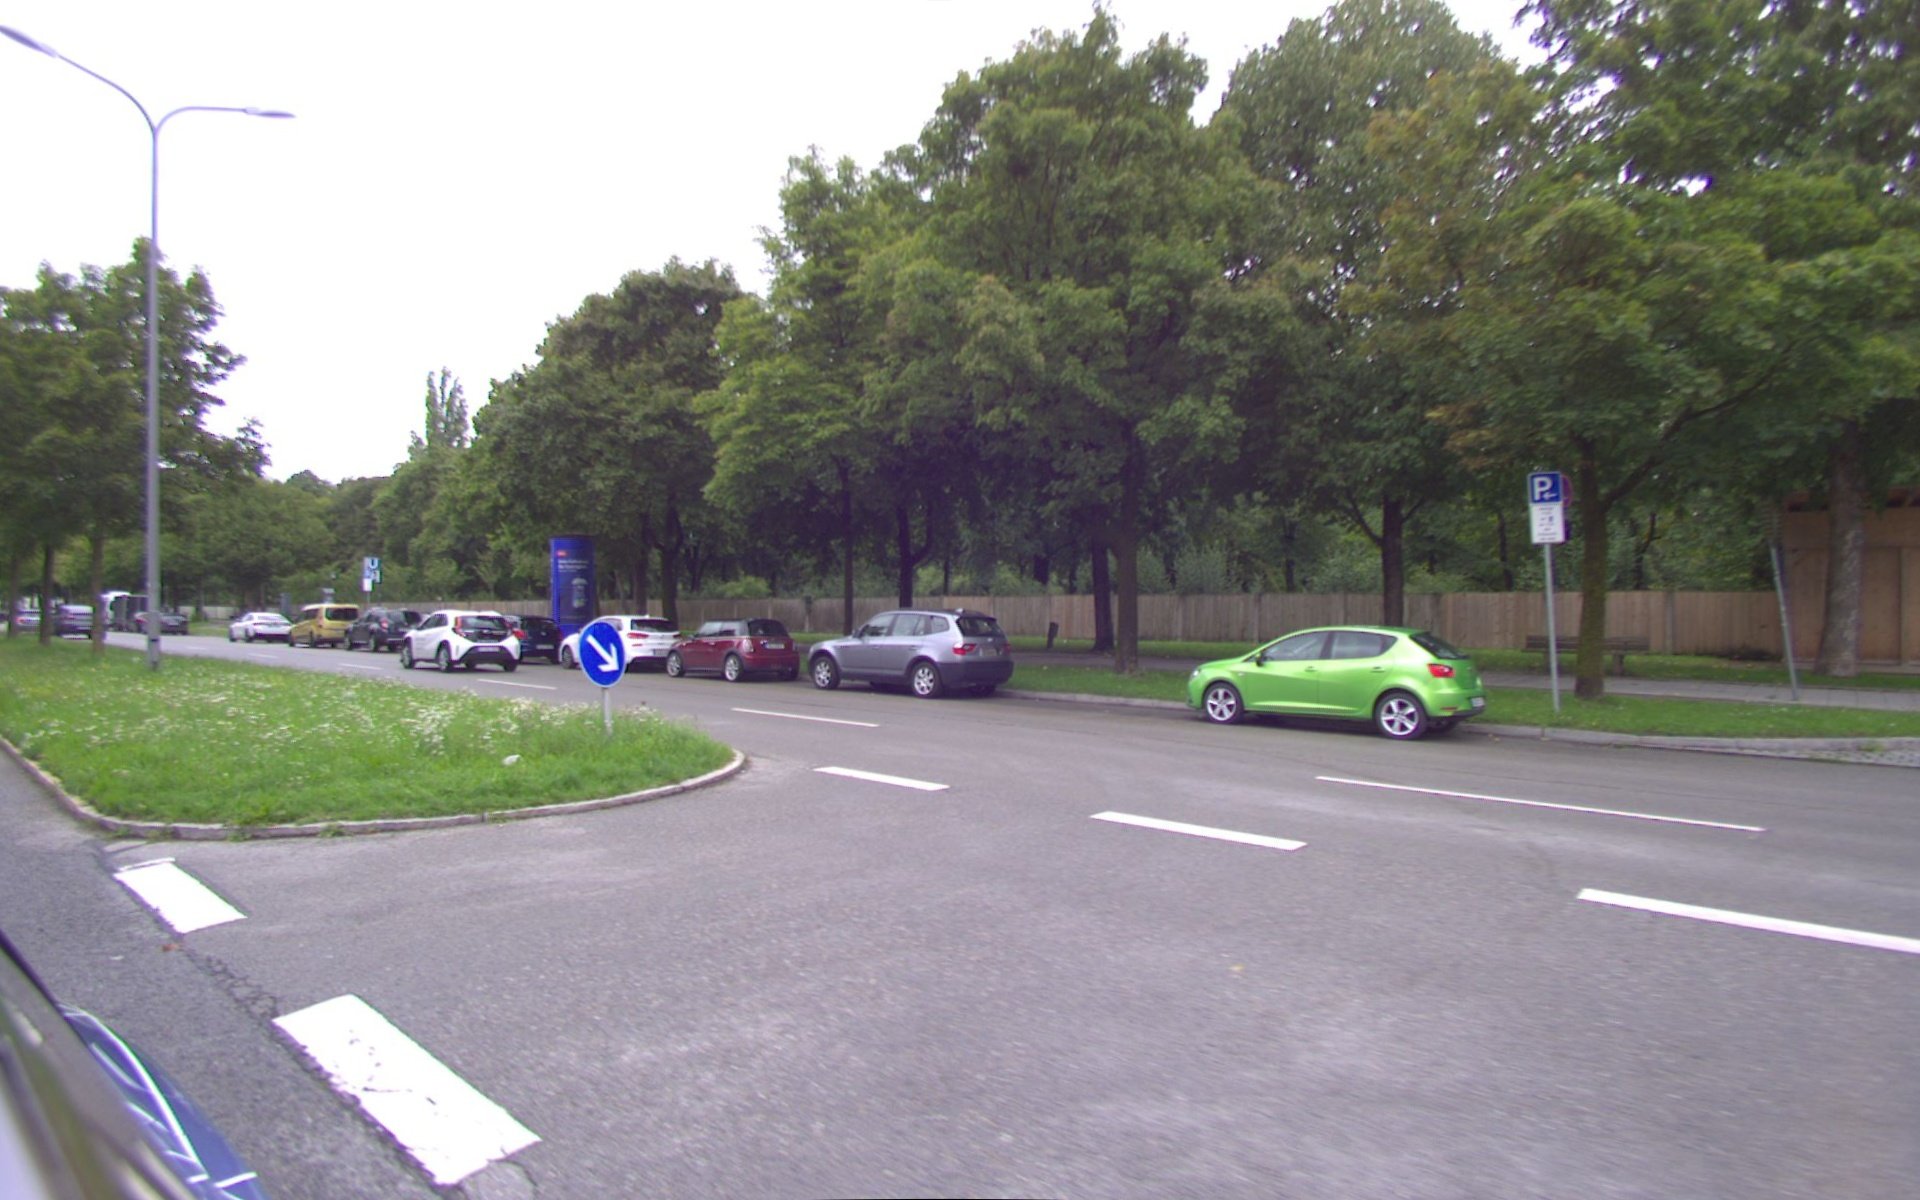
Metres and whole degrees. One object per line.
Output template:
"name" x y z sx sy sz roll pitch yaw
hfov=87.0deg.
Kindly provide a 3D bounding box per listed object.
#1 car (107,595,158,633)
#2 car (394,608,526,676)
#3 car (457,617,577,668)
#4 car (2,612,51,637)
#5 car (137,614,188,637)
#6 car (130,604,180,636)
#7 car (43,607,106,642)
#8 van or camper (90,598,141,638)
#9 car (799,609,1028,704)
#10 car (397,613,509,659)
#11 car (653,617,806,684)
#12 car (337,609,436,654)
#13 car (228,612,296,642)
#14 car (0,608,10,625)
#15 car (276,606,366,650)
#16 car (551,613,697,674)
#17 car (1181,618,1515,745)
"car" -59.300 1.005 72.499 4.496 2.611 1.973 -1 -2 40
"car" -12.534 0.983 25.288 3.721 1.565 1.801 -1 -1 43
"car" -13.435 1.272 30.614 3.785 1.457 1.803 -1 -3 40
"car" -54.650 1.436 59.235 3.766 1.393 1.699 -1 -3 42
"car" -50.250 1.592 63.781 4.038 1.420 1.695 -1 -2 40
"car" -53.533 1.309 67.299 3.999 2.029 1.972 -1 -1 42
"car" -43.320 1.184 49.482 4.500 1.601 1.802 -1 -1 42
"van or camper" -63.134 1.349 75.629 4.928 2.829 1.973 -1 -2 40
"car" -0.985 1.014 19.637 4.455 1.643 1.802 -1 -2 42
"car" -17.210 1.193 34.295 4.297 1.481 1.803 -1 -2 40
"car" -5.378 1.144 23.452 3.687 1.433 1.632 -1 -3 43
"car" -21.947 1.172 38.686 4.038 1.628 1.981 -1 -2 40
"car" -34.395 1.317 49.844 4.038 1.454 1.695 -1 -2 40
"car" -103.493 1.748 108.597 4.499 1.682 1.841 -1 -3 42
"car" -26.944 1.166 42.619 4.530 1.784 1.838 -1 -2 40
"car" -8.995 1.133 26.922 4.259 1.488 1.801 -1 -3 43
"car" 5.234 1.020 13.978 4.000 1.511 1.622 -1 -3 43
